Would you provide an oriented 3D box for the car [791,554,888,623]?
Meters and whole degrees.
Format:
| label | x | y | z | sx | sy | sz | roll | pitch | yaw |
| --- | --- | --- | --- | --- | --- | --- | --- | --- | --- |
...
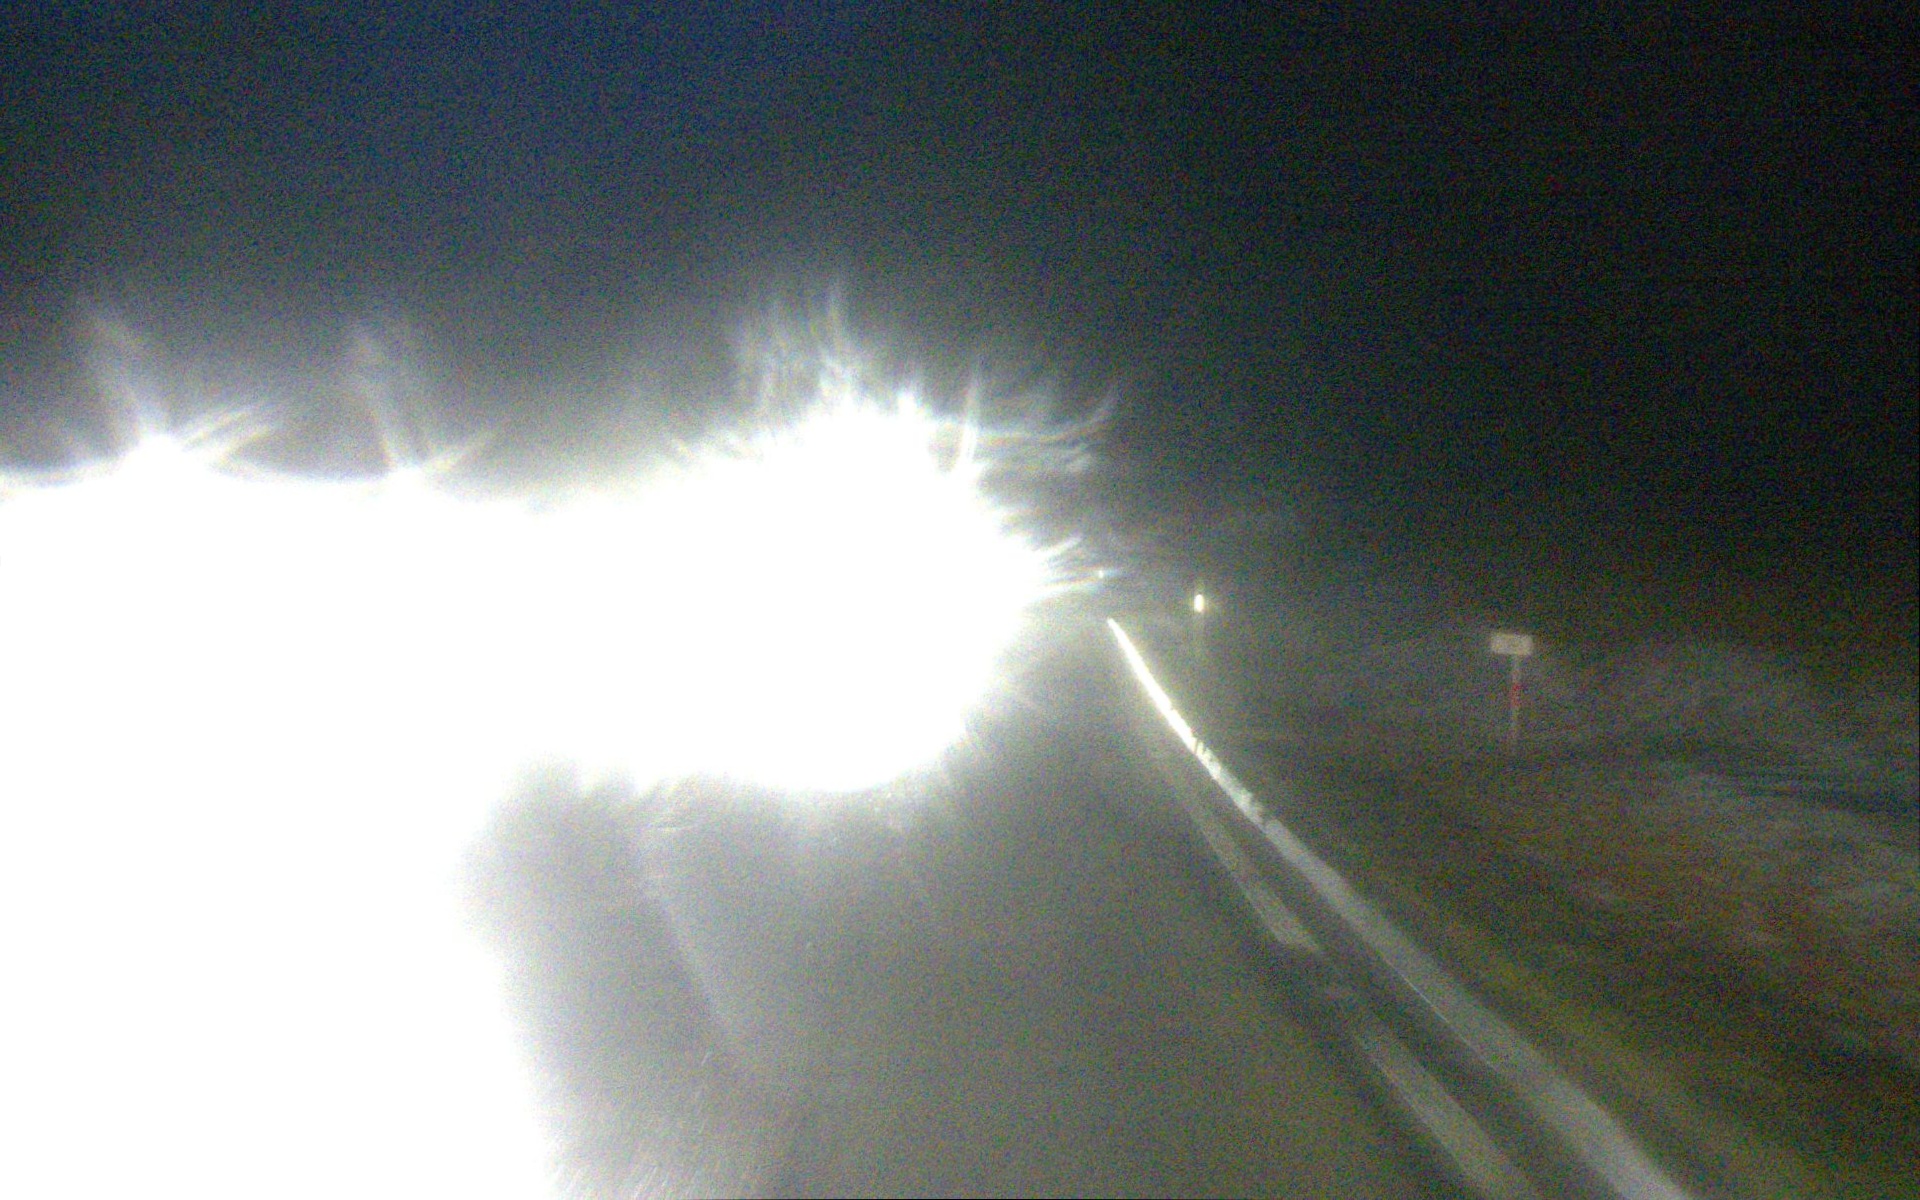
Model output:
| label | x | y | z | sx | sy | sz | roll | pitch | yaw |
| --- | --- | --- | --- | --- | --- | --- | --- | --- | --- |
| car | -2.750 | -0.285 | 79.047 | 1.917 | 1.459 | 4.259 | 1 | 1 | 2 |

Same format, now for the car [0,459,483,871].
| label | x | y | z | sx | sy | sz | roll | pitch | yaw |
| --- | --- | --- | --- | --- | --- | --- | --- | --- | --- |
| car | -3.737 | 0.286 | 18.203 | 1.855 | 1.933 | 4.000 | 0 | 1 | 0 |
